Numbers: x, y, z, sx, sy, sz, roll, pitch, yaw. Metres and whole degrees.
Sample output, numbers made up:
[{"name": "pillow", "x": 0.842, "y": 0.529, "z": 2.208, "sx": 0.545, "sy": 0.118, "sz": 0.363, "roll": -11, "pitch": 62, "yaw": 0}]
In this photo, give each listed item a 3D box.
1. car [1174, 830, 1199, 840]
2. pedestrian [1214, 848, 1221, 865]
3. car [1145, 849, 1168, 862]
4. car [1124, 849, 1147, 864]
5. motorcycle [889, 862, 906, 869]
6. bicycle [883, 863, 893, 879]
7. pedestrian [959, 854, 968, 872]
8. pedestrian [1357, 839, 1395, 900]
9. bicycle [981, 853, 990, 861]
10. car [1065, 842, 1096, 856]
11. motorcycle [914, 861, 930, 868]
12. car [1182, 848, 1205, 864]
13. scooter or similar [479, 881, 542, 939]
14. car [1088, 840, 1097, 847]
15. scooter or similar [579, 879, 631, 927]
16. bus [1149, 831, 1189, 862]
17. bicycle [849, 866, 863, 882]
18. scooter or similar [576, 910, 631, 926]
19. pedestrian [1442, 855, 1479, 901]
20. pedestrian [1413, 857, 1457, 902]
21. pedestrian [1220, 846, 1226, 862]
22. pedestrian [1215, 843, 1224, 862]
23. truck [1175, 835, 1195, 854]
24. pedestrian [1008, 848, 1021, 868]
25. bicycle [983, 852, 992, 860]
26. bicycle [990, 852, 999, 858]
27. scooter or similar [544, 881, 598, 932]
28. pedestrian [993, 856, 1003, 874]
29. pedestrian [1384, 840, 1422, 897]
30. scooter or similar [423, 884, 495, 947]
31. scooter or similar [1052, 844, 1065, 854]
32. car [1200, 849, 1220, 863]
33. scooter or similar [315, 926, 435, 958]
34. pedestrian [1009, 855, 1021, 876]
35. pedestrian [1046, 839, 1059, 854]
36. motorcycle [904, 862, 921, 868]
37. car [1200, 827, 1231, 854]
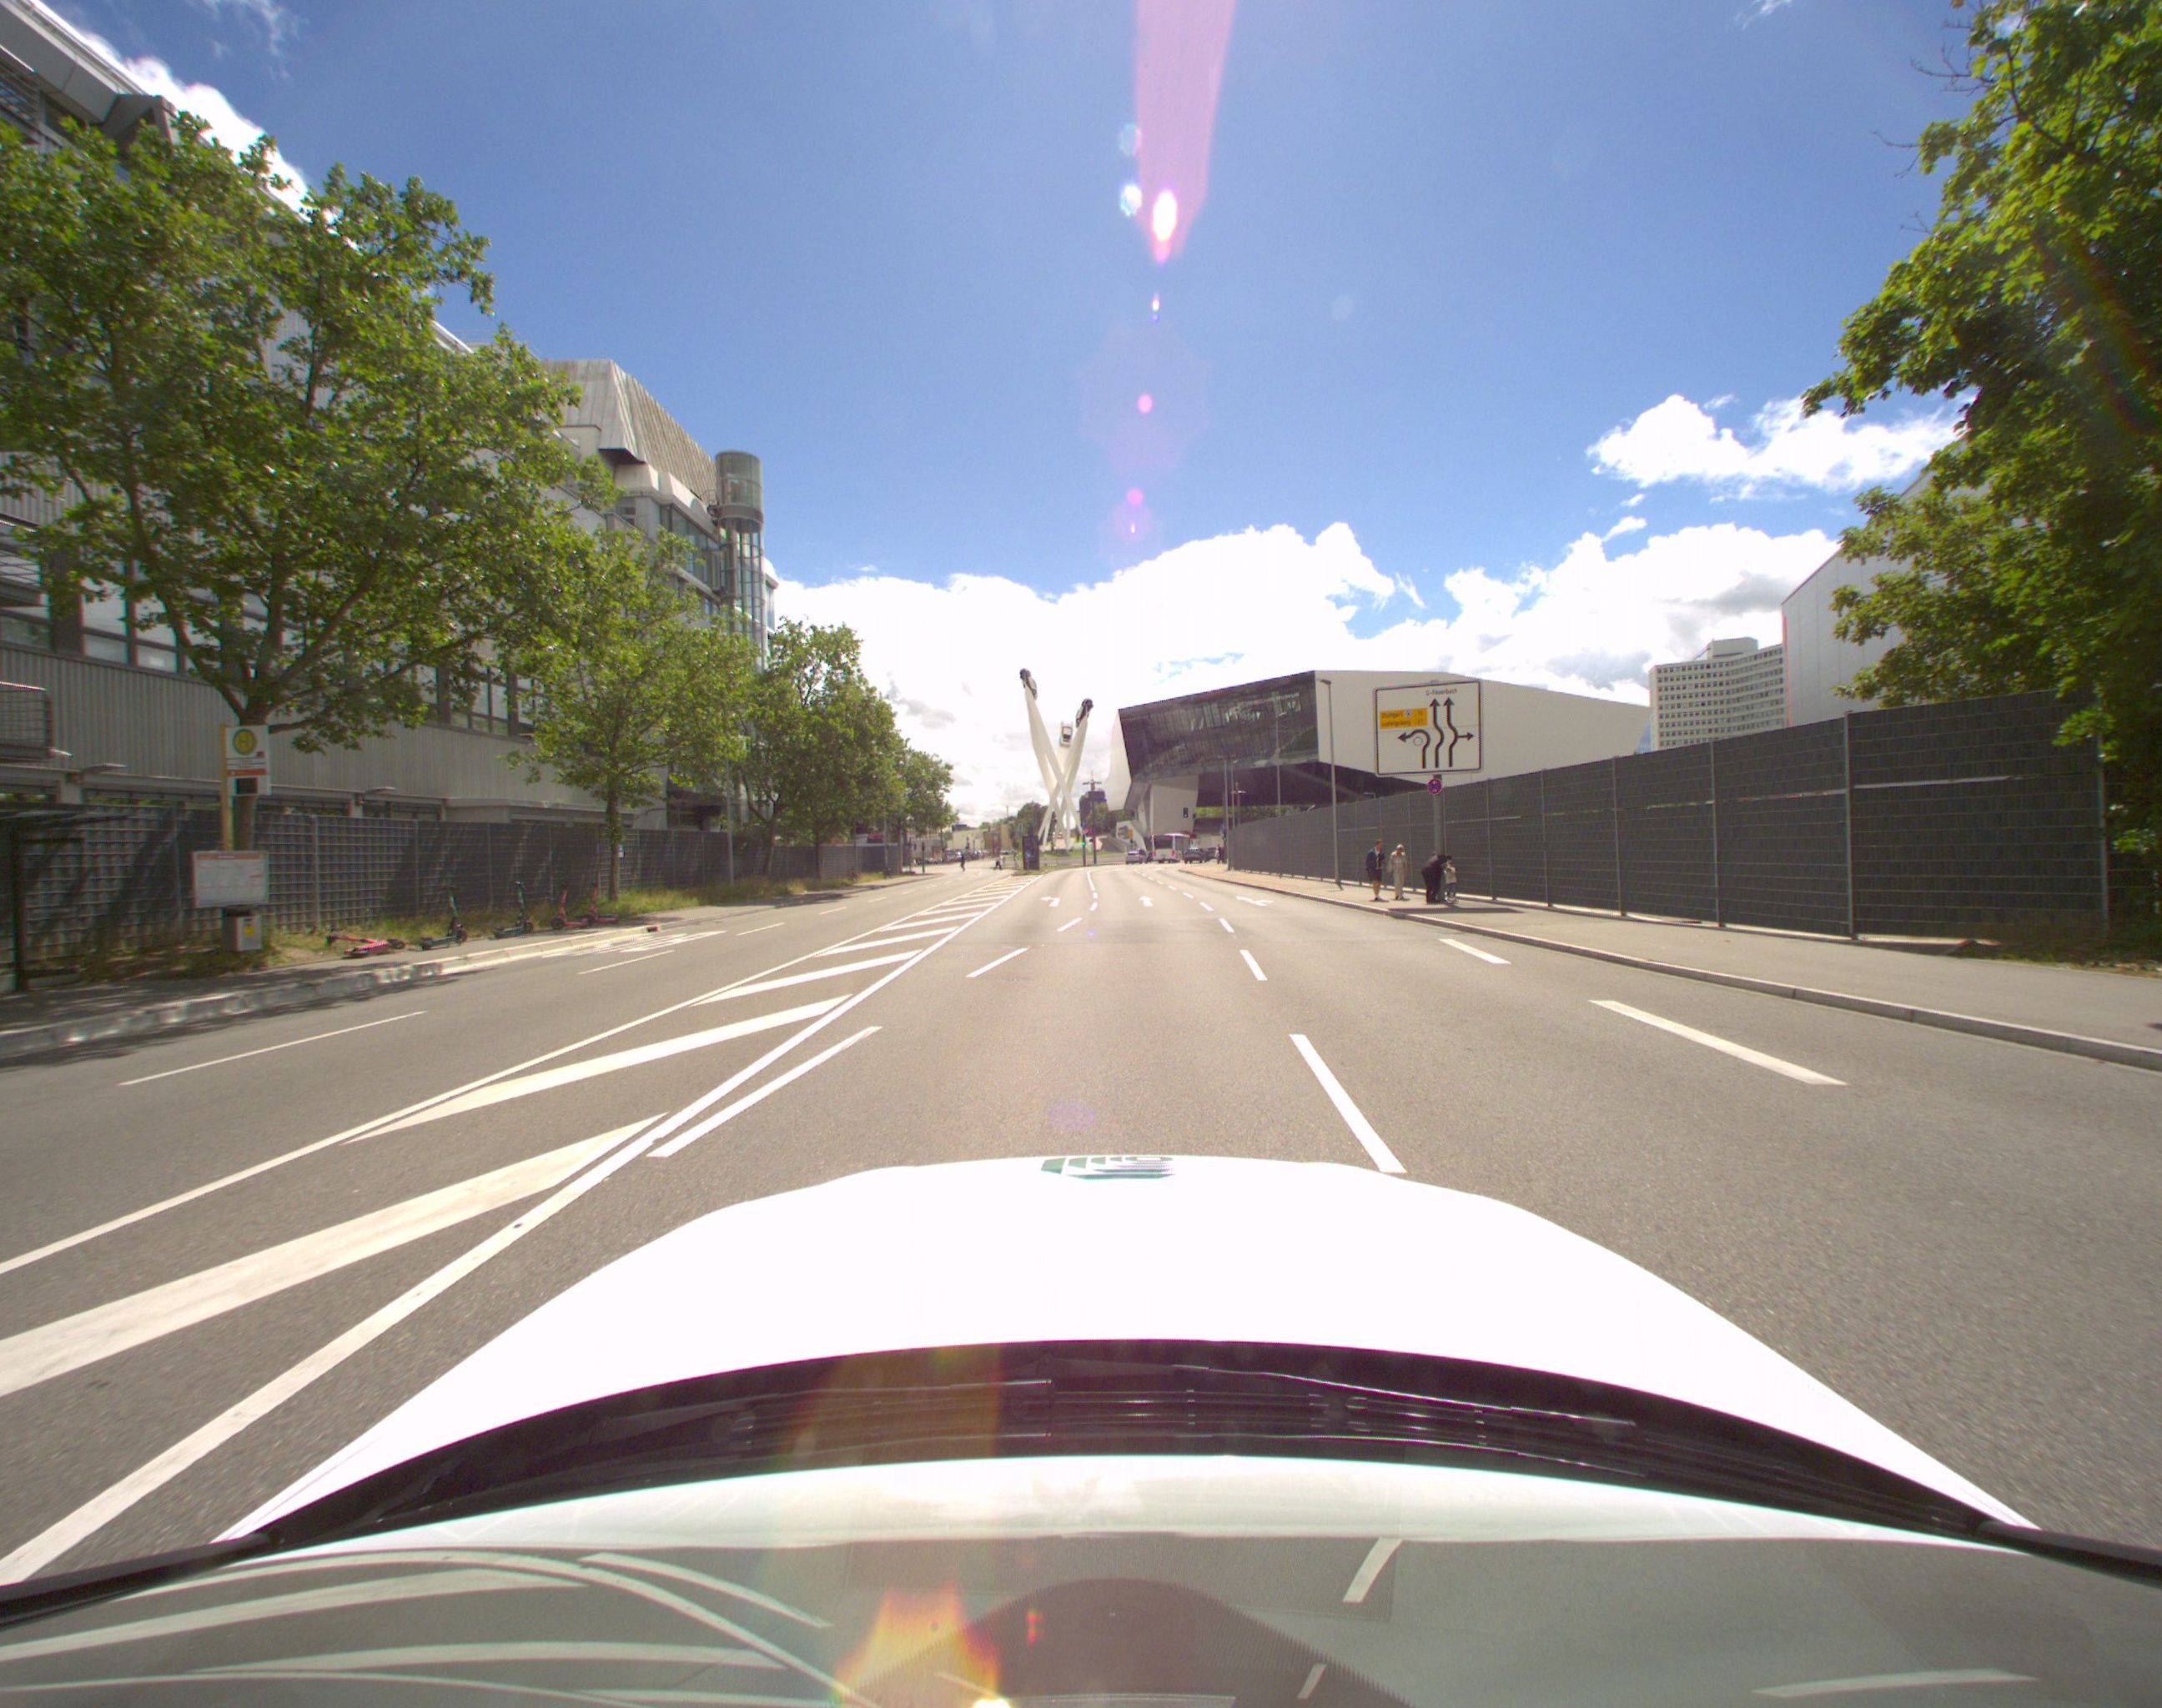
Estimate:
[{"name": "car", "x": 20.130, "y": -3.619, "z": 154.918, "sx": 2.012, "sy": 1.394, "sz": 4.459, "roll": -7, "pitch": 11, "yaw": -43}, {"name": "pedestrian", "x": 13.510, "y": 0.235, "z": 80.614, "sx": 0.655, "sy": 1.608, "sz": 0.825, "roll": -1, "pitch": -1, "yaw": 11}, {"name": "car", "x": 9.816, "y": 0.180, "z": 105.557, "sx": 1.977, "sy": 1.637, "sz": 4.019, "roll": -1, "pitch": -1, "yaw": 18}, {"name": "car", "x": 6.108, "y": 0.244, "z": 91.480, "sx": 1.980, "sy": 1.637, "sz": 4.014, "roll": -1, "pitch": -1, "yaw": 13}, {"name": "motorcycle", "x": -32.754, "y": 1.998, "z": 145.070, "sx": 2.880, "sy": 1.196, "sz": 0.924, "roll": -1, "pitch": -1, "yaw": 18}, {"name": "bicycle", "x": -14.057, "y": 1.250, "z": 59.416, "sx": 0.295, "sy": 1.131, "sz": 1.486, "roll": -1, "pitch": -1, "yaw": 3}, {"name": "pedestrian", "x": -11.859, "y": 0.897, "z": 82.227, "sx": 0.864, "sy": 1.774, "sz": 1.030, "roll": 0, "pitch": -1, "yaw": -14}, {"name": "pedestrian", "x": 8.454, "y": 0.444, "z": 23.360, "sx": 0.792, "sy": 1.721, "sz": 0.731, "roll": 0, "pitch": -1, "yaw": -1}, {"name": "bicycle", "x": -17.602, "y": 0.552, "z": 150.597, "sx": 1.601, "sy": 1.316, "sz": 0.492, "roll": 0, "pitch": -1, "yaw": -1}, {"name": "car", "x": -0.048, "y": -0.838, "z": 129.960, "sx": 4.595, "sy": 2.171, "sz": 2.013, "roll": -1, "pitch": -1, "yaw": 32}, {"name": "motorcycle", "x": -29.580, "y": 1.943, "z": 151.251, "sx": 2.880, "sy": 1.196, "sz": 0.924, "roll": -1, "pitch": -1, "yaw": 18}, {"name": "car", "x": 11.892, "y": 0.247, "z": 86.020, "sx": 1.980, "sy": 1.636, "sz": 4.014, "roll": -1, "pitch": 0, "yaw": 13}, {"name": "scooter or similar", "x": -13.357, "y": 1.288, "z": 19.106, "sx": 0.521, "sy": 1.234, "sz": 1.317, "roll": 1, "pitch": 1, "yaw": 0}, {"name": "car", "x": 2.721, "y": -2.580, "z": 194.614, "sx": 1.986, "sy": 1.635, "sz": 4.658, "roll": 0, "pitch": 2, "yaw": 2}, {"name": "scooter or similar", "x": -13.250, "y": 1.350, "z": 22.695, "sx": 0.520, "sy": 1.234, "sz": 1.320, "roll": 2, "pitch": 1, "yaw": 6}, {"name": "bus", "x": 10.475, "y": -0.779, "z": 95.822, "sx": 3.050, "sy": 3.362, "sz": 12.268, "roll": -1, "pitch": -1, "yaw": 14}, {"name": "bicycle", "x": -14.634, "y": 1.278, "z": 52.980, "sx": 0.294, "sy": 1.006, "sz": 1.255, "roll": -1, "pitch": -1, "yaw": 10}, {"name": "scooter or similar", "x": -13.749, "y": 1.847, "z": 23.490, "sx": 0.532, "sy": 0.322, "sz": 1.280, "roll": -1, "pitch": 1, "yaw": 25}, {"name": "pedestrian", "x": 10.081, "y": 0.624, "z": 21.635, "sx": 0.711, "sy": 1.207, "sz": 0.599, "roll": -1, "pitch": -1, "yaw": 3}, {"name": "pedestrian", "x": 9.301, "y": 0.668, "z": 21.445, "sx": 0.754, "sy": 1.149, "sz": 0.972, "roll": -1, "pitch": -1, "yaw": 3}, {"name": "pedestrian", "x": 14.541, "y": -0.015, "z": 83.587, "sx": 0.462, "sy": 1.616, "sz": 0.663, "roll": 0, "pitch": -1, "yaw": 1}, {"name": "pedestrian", "x": 14.281, "y": -0.144, "z": 84.149, "sx": 0.660, "sy": 1.866, "sz": 0.789, "roll": 0, "pitch": -1, "yaw": -14}, {"name": "truck", "x": 14.420, "y": -1.247, "z": 112.917, "sx": 2.191, "sy": 2.516, "sz": 5.152, "roll": -1, "pitch": -1, "yaw": 14}, {"name": "pedestrian", "x": -6.692, "y": 0.417, "z": 81.845, "sx": 0.944, "sy": 2.055, "sz": 0.955, "roll": -1, "pitch": -1, "yaw": 19}, {"name": "bicycle", "x": -17.408, "y": 0.405, "z": 152.089, "sx": 1.601, "sy": 1.382, "sz": 0.492, "roll": 0, "pitch": -1, "yaw": -1}, {"name": "bicycle", "x": -17.006, "y": 0.192, "z": 159.647, "sx": 1.732, "sy": 1.182, "sz": 0.669, "roll": 0, "pitch": 1, "yaw": -2}, {"name": "scooter or similar", "x": -13.320, "y": 1.349, "z": 21.313, "sx": 0.521, "sy": 1.234, "sz": 1.318, "roll": 1, "pitch": 1, "yaw": 2}, {"name": "pedestrian", "x": -8.110, "y": 1.081, "z": 79.256, "sx": 0.864, "sy": 1.774, "sz": 1.030, "roll": 0, "pitch": -1, "yaw": -14}, {"name": "pedestrian", "x": 9.260, "y": 0.410, "z": 23.431, "sx": 0.792, "sy": 1.597, "sz": 0.731, "roll": 0, "pitch": -1, "yaw": -1}, {"name": "scooter or similar", "x": -13.391, "y": 1.296, "z": 17.578, "sx": 0.521, "sy": 1.234, "sz": 1.317, "roll": 1, "pitch": 1, "yaw": 0}, {"name": "scooter or similar", "x": -2.783, "y": -0.623, "z": 100.299, "sx": 1.390, "sy": 1.025, "sz": 0.552, "roll": -2, "pitch": 6, "yaw": 14}, {"name": "car", "x": 14.584, "y": 0.240, "z": 92.087, "sx": 1.980, "sy": 1.637, "sz": 4.014, "roll": -1, "pitch": -1, "yaw": 13}, {"name": "scooter or similar", "x": -13.931, "y": 1.721, "z": 16.083, "sx": 1.347, "sy": 0.380, "sz": 1.499, "roll": 2, "pitch": 1, "yaw": 35}, {"name": "pedestrian", "x": -6.527, "y": 1.174, "z": 80.623, "sx": 0.944, "sy": 2.055, "sz": 0.955, "roll": -1, "pitch": -1, "yaw": 19}, {"name": "pedestrian", "x": -3.543, "y": -0.928, "z": 100.367, "sx": 1.274, "sy": 1.816, "sz": 0.989, "roll": -4, "pitch": 4, "yaw": 9}, {"name": "motorcycle", "x": -30.845, "y": 2.028, "z": 149.003, "sx": 2.880, "sy": 1.196, "sz": 0.924, "roll": -1, "pitch": -1, "yaw": 18}, {"name": "car", "x": 18.778, "y": -1.801, "z": 114.150, "sx": 3.321, "sy": 3.504, "sz": 9.349, "roll": -1, "pitch": -1, "yaw": 3}]
